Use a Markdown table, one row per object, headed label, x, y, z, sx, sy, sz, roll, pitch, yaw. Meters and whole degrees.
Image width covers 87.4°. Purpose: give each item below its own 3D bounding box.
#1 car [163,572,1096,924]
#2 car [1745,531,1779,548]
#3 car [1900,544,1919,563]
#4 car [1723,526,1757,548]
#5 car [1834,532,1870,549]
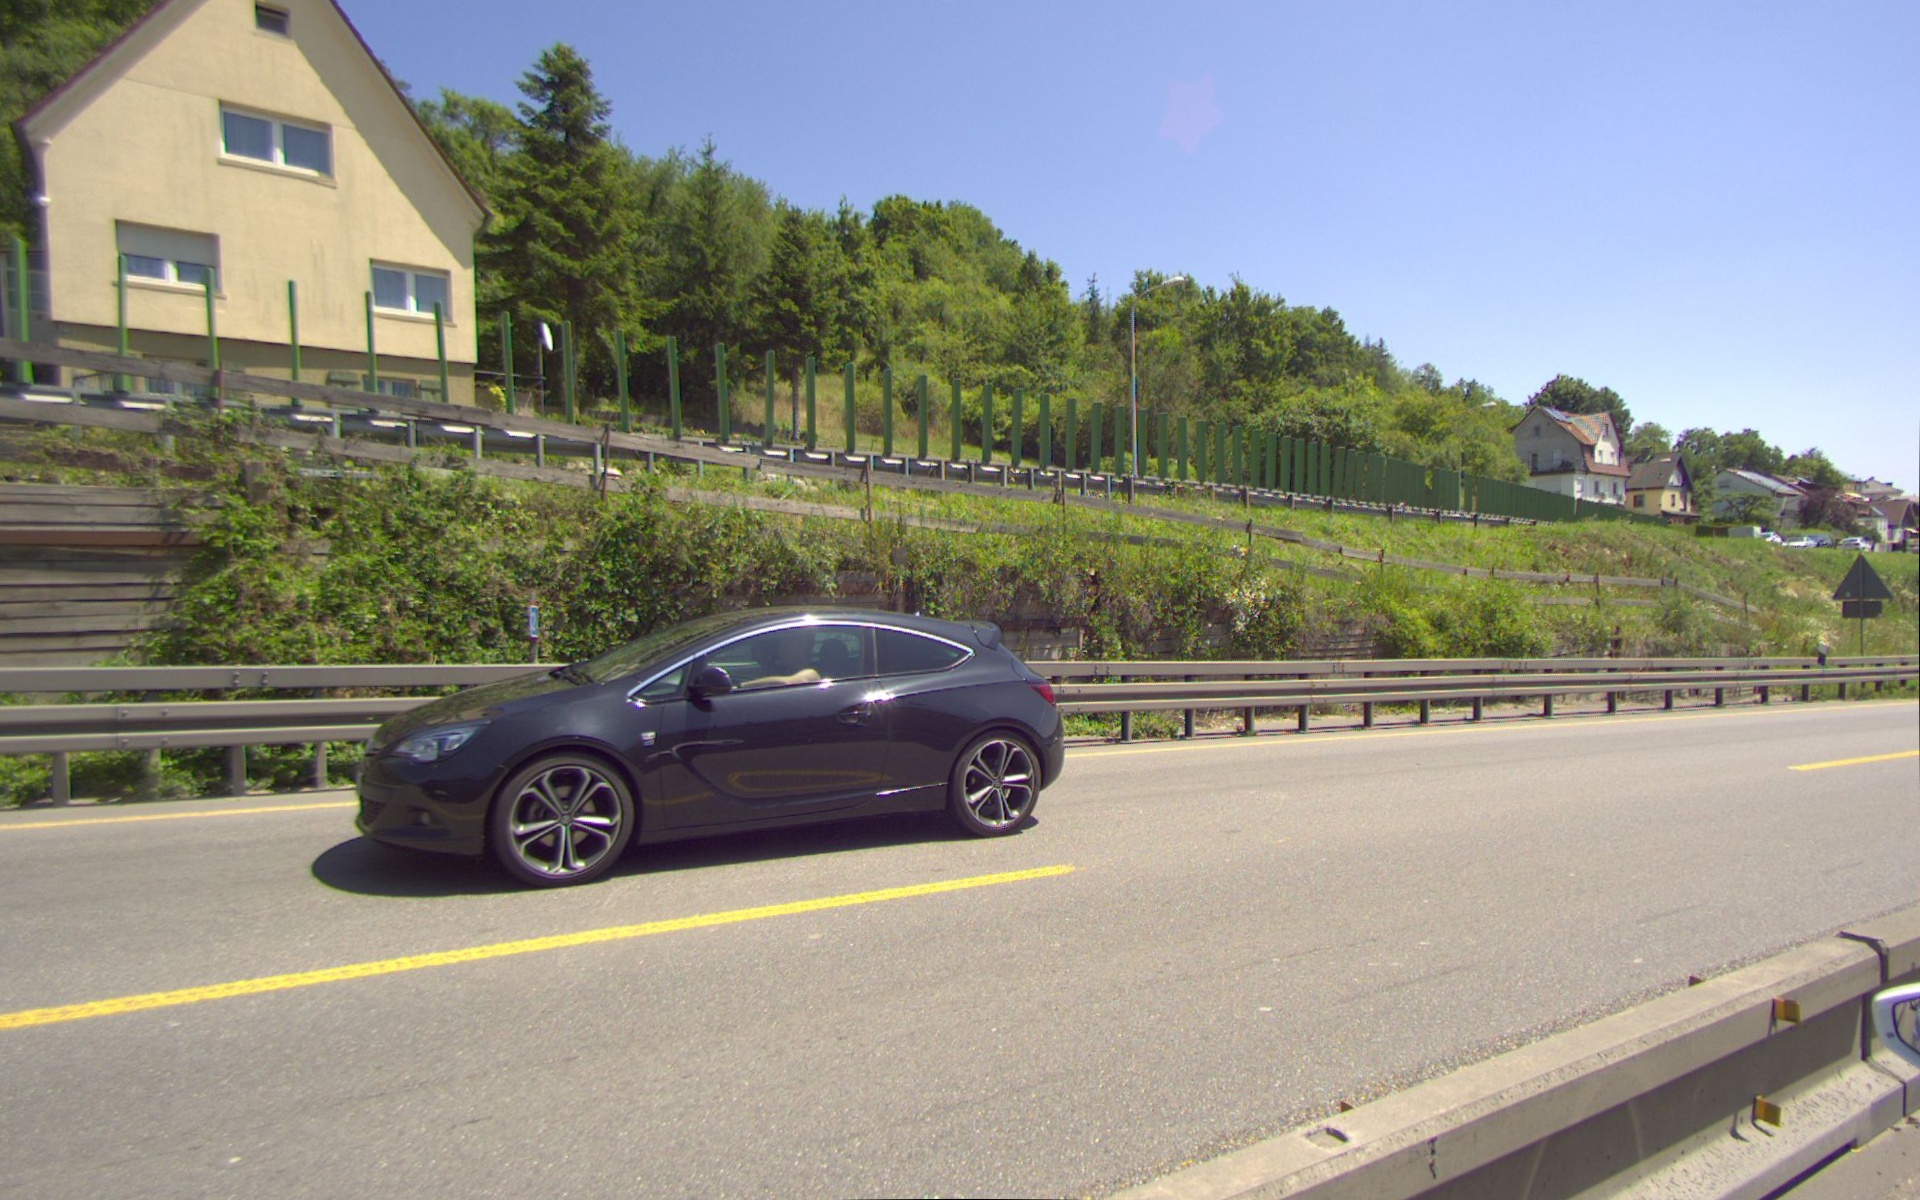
| label | x | y | z | sx | sy | sz | roll | pitch | yaw |
| --- | --- | --- | --- | --- | --- | --- | --- | --- | --- |
| car | -1.675 | 0.691 | 6.296 | 4.950 | 1.467 | 1.804 | 2 | 1 | -31 |
| car | 63.245 | -4.777 | 79.216 | 3.243 | 1.052 | 1.271 | 1 | -1 | -36 |
| car | 100.879 | -4.897 | 106.045 | 3.968 | 1.751 | 1.909 | 2 | -1 | -40 |
| car | 59.347 | -4.797 | 76.386 | 1.708 | 1.417 | 3.780 | 3 | 1 | 42 |
| car | 84.613 | -5.628 | 95.276 | 3.968 | 1.337 | 1.976 | 2 | 3 | -41 |
